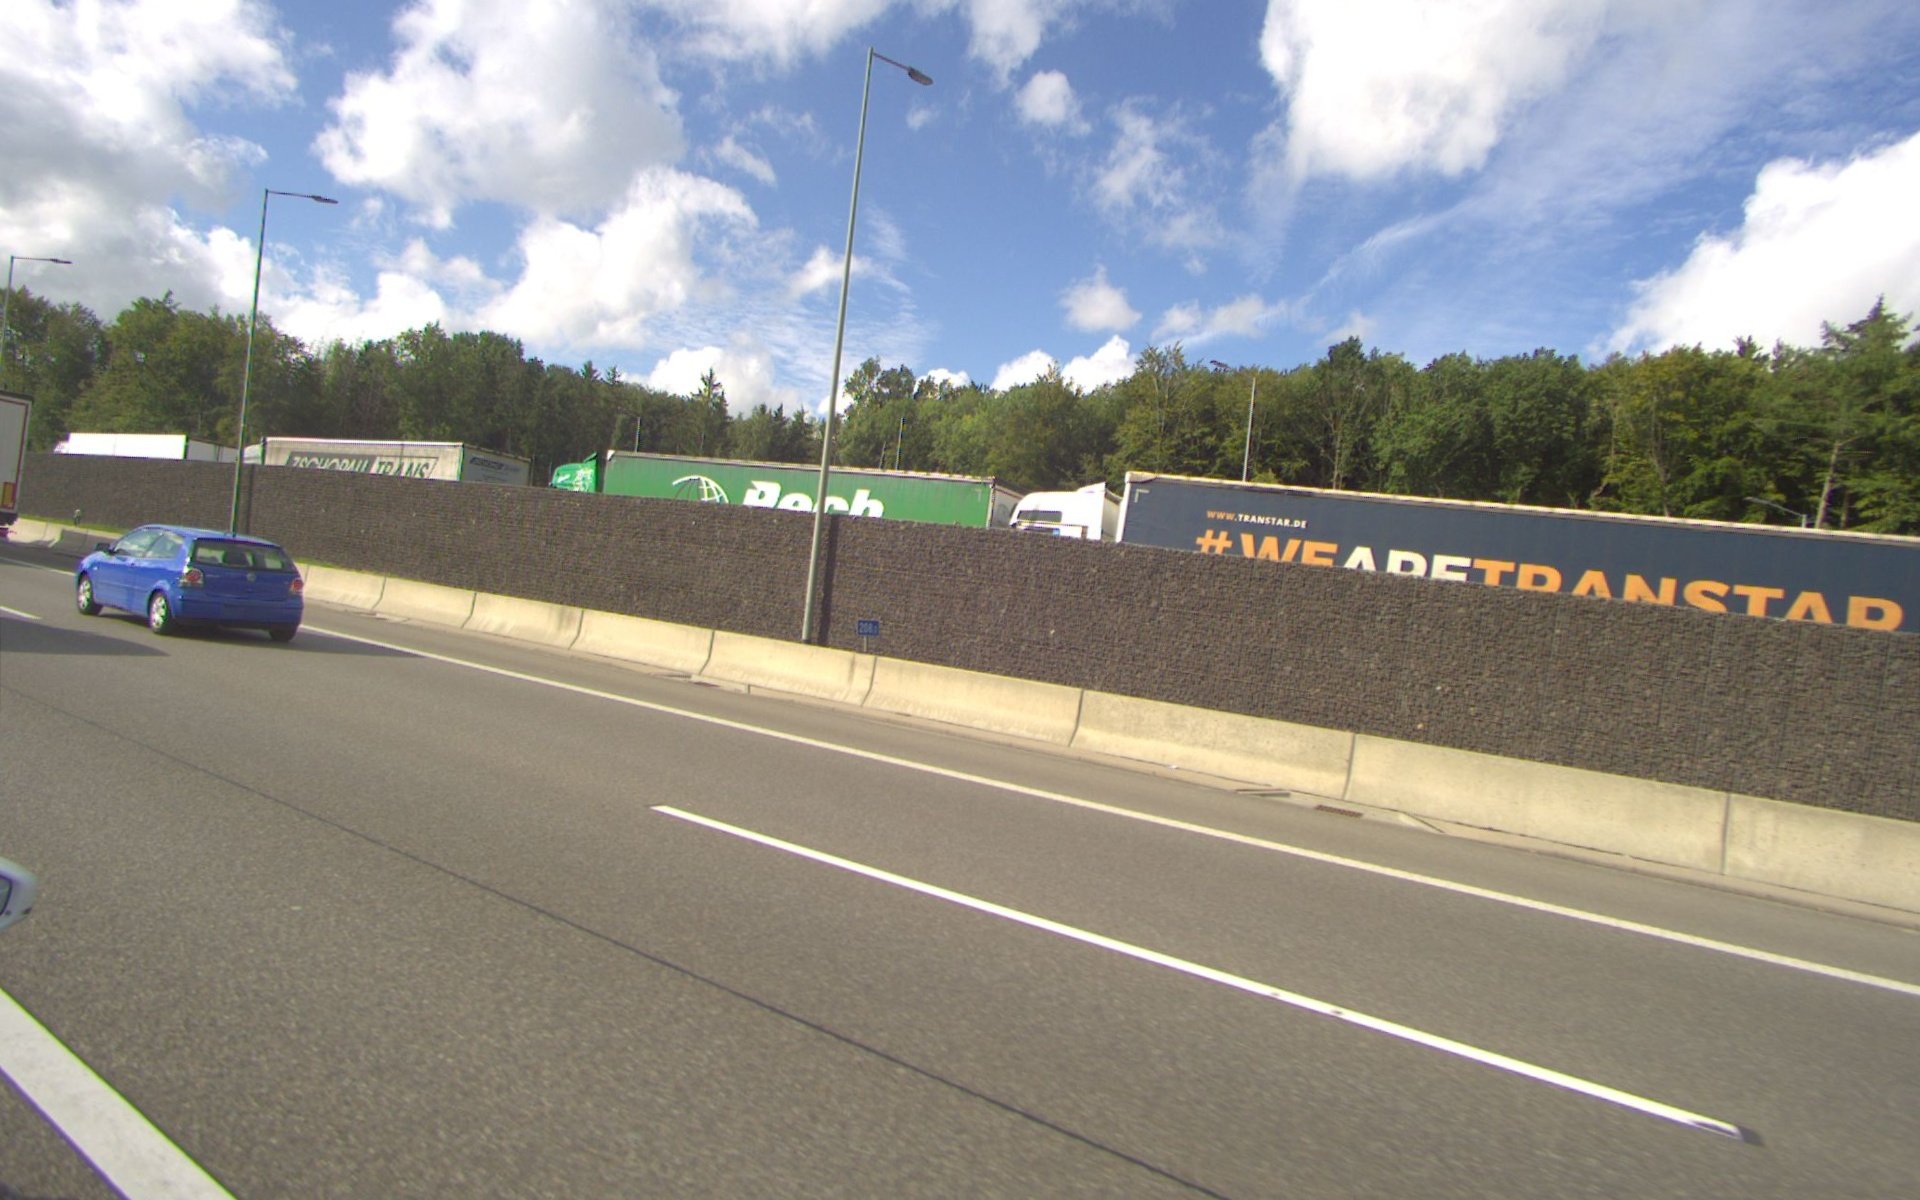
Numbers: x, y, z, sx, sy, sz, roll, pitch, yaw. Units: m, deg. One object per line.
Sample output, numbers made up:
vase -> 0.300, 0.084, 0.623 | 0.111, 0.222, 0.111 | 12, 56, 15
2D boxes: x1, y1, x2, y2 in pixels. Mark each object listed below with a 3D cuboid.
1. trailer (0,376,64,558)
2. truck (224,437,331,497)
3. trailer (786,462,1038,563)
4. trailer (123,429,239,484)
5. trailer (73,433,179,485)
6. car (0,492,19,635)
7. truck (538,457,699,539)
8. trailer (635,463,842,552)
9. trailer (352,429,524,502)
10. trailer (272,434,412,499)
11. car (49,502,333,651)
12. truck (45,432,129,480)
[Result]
trailer -> -28.345, -3.623, 26.448 | 13.663, 4.081, 3.044 | 4, -2, 32
truck -> -28.313, -5.485, 41.720 | 4.029, 2.037, 2.049 | 5, -3, 31
trailer -> -1.293, -2.217, 25.266 | 6.091, 2.037, 1.997 | 4, -3, 31
trailer -> -36.629, -6.743, 47.253 | 6.216, 2.038, 2.133 | 7, 0, 32
trailer -> -41.856, -7.103, 50.460 | 6.131, 2.038, 2.133 | 7, 0, 32
car -> -12.246, -0.627, 10.816 | 4.569, 1.559, 1.927 | 7, -2, 33
truck -> -10.547, -3.131, 30.969 | 4.704, 2.037, 2.049 | 4, -3, 33
trailer -> -6.286, -2.627, 28.274 | 5.680, 2.037, 1.998 | 5, -3, 31
trailer -> -18.673, -4.739, 35.825 | 6.850, 2.037, 2.054 | 4, -3, 32
trailer -> -24.101, -5.158, 39.169 | 5.908, 2.037, 2.049 | 4, -3, 32
car -> -11.039, -0.363, 14.364 | 4.230, 1.530, 1.717 | 8, 0, 31
truck -> -46.082, -7.605, 53.098 | 3.934, 2.038, 2.149 | 7, 0, 32
